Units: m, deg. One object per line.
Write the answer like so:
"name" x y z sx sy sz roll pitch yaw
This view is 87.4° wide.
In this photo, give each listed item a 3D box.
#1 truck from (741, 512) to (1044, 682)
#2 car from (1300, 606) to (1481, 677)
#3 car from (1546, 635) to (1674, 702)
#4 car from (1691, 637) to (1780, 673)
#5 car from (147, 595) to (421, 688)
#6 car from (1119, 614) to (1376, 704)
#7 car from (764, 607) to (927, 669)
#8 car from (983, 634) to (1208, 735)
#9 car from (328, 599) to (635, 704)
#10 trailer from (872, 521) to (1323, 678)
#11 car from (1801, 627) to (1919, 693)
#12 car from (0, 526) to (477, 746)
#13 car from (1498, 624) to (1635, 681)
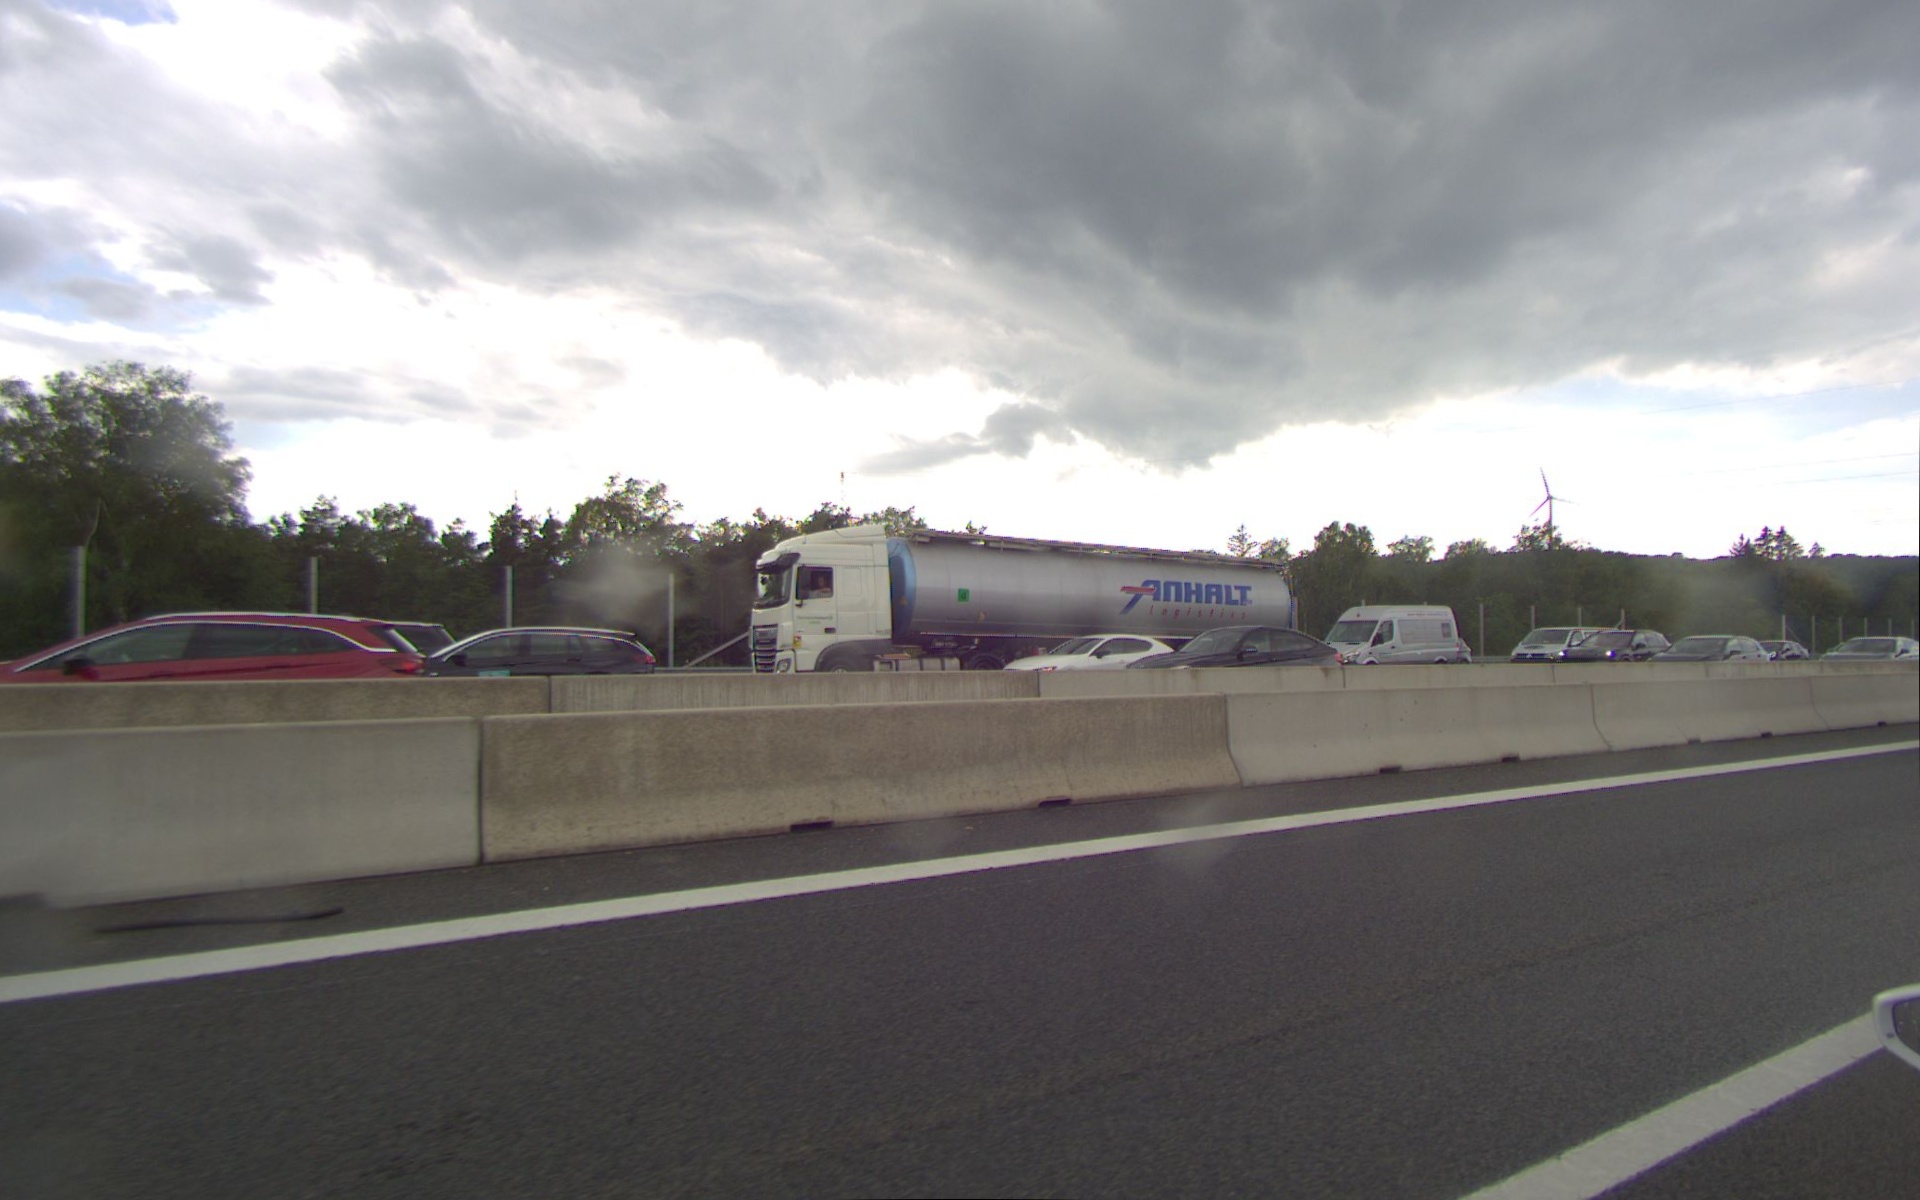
"truck" -1.542 -0.004 23.999 6.720 3.560 2.715 1 0 -30
"car" 14.530 1.349 33.742 6.541 2.178 2.106 1 0 -30
"car" 21.092 2.179 32.575 3.953 1.979 1.884 1 0 -30
"car" 35.280 2.484 45.677 3.953 1.471 1.858 2 -1 -30
"car" -12.084 0.740 18.282 3.953 1.523 1.585 2 -1 -30
"car" 5.474 1.070 18.925 4.914 1.503 1.756 2 -1 -30
"car" -3.115 1.030 27.394 3.953 1.550 1.984 2 -1 -30
"car" 3.094 1.794 22.500 4.984 1.995 1.718 1 0 -31
"car" -7.726 0.806 16.428 4.301 1.523 1.791 2 -1 -30
"trailer" 4.277 0.116 27.463 13.451 3.573 2.697 1 0 -31
"car" 30.008 1.902 32.938 5.154 1.963 2.106 1 0 -30
"car" -7.846 0.359 10.669 4.750 1.995 1.854 2 0 -30
"car" 22.916 1.953 37.915 5.375 1.963 2.106 1 0 -30
